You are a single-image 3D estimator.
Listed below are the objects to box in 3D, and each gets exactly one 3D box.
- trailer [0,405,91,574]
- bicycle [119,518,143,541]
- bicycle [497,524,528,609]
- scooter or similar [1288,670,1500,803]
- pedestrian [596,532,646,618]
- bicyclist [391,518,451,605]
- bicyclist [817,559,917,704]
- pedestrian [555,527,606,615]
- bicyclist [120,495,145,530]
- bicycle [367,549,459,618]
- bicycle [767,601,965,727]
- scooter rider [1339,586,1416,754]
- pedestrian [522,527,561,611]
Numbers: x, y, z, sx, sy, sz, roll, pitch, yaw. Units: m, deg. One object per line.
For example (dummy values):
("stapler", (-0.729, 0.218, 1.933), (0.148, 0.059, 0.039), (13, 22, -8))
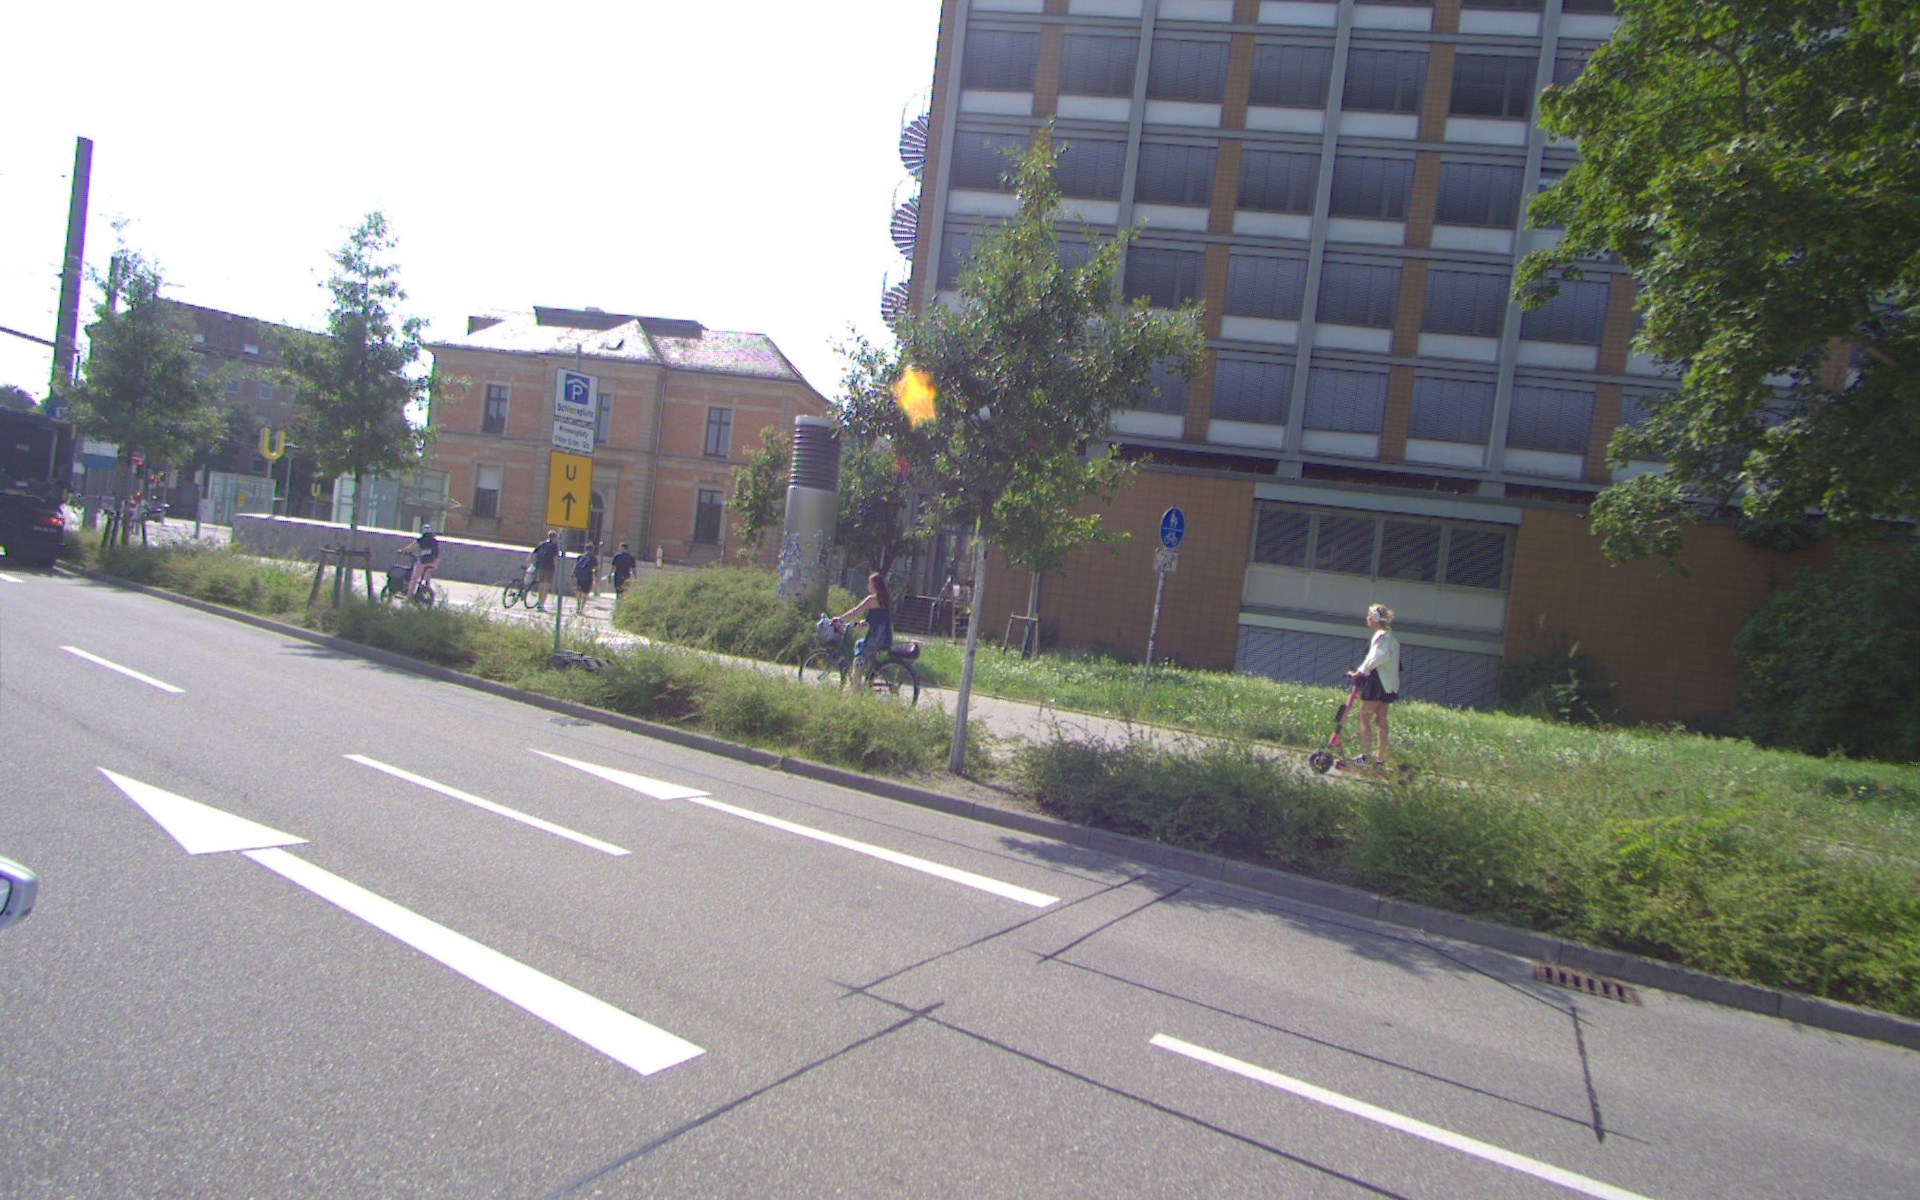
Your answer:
("trailer", (-20.636, -2.461, 21.004), (6.231, 3.044, 2.462), (7, 0, 39))
("bicycle", (-33.736, -2.865, 40.938), (0.671, 0.786, 2.103), (6, 1, -41))
("bicycle", (-10.444, -0.797, 23.512), (0.451, 1.884, 1.355), (6, 2, -23))
("scooter or similar", (4.670, 1.438, 10.908), (1.969, 1.074, 0.557), (7, 3, 27))
("pedestrian", (-8.362, -0.622, 24.802), (0.774, 1.998, 0.745), (5, 2, -38))
("bicyclist", (-10.044, -0.708, 18.754), (0.790, 1.515, 0.549), (7, 1, 32))
("bicyclist", (-1.116, 0.363, 12.106), (0.829, 1.621, 0.690), (7, 4, 30))
("pedestrian", (-9.095, -0.699, 24.085), (0.774, 1.998, 0.745), (5, 2, -38))
("bicyclist", (-33.567, -3.556, 40.813), (0.671, 1.337, 0.675), (5, 2, -41))
("bicycle", (-10.277, -0.314, 18.889), (1.971, 1.073, 0.557), (7, 1, 32))
("bicycle", (-1.161, 0.722, 12.136), (2.331, 1.170, 0.694), (7, 3, 31))
("scooter rider", (4.557, 0.738, 10.961), (0.529, 1.723, 0.671), (8, 4, 26))
("pedestrian", (-9.906, -0.737, 23.816), (0.654, 1.884, 0.788), (6, 2, -25))
